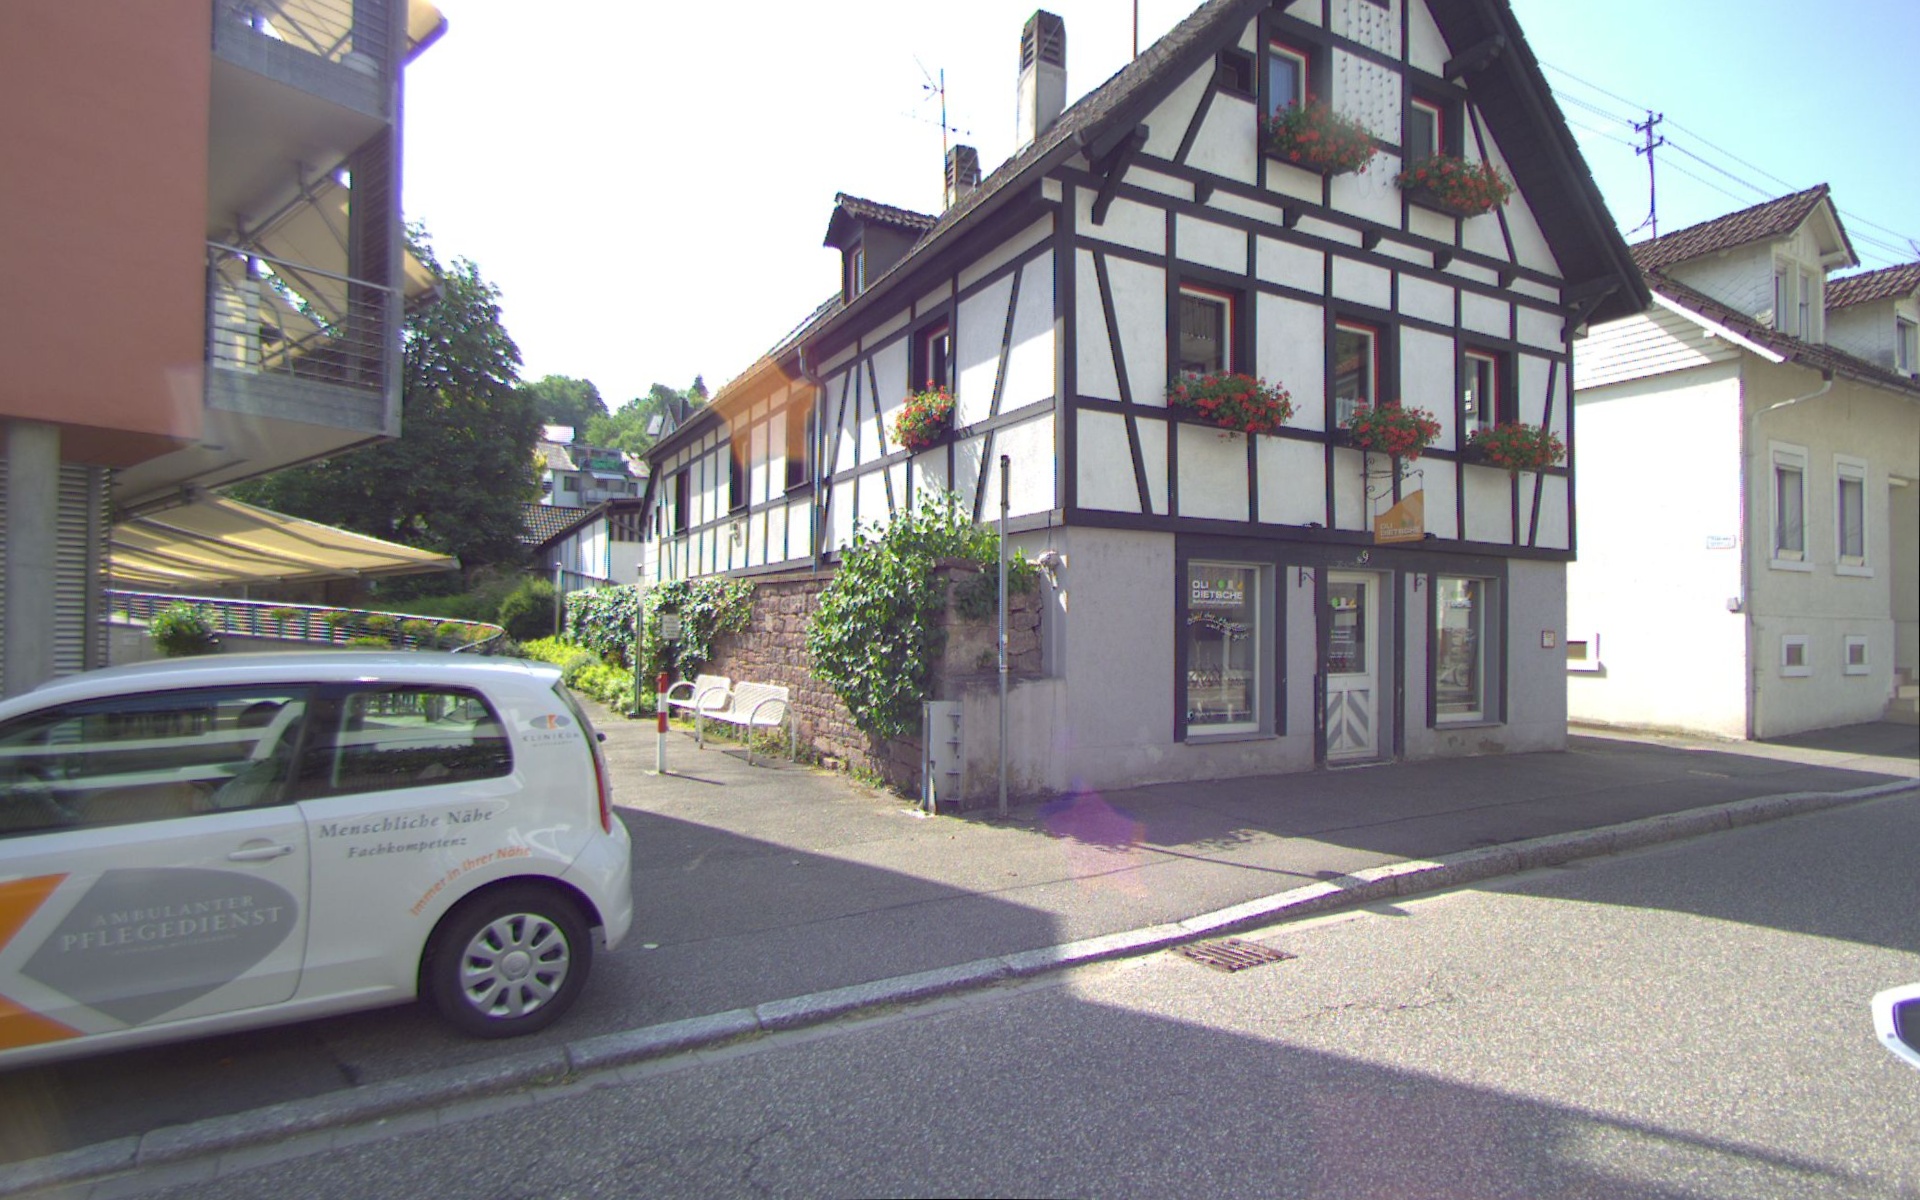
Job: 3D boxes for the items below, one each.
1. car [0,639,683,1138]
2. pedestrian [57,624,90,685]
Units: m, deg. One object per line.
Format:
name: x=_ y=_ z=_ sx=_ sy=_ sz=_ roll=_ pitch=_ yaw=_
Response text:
car: x=-3.076 y=0.938 z=3.995 sx=3.526 sy=1.451 sz=1.658 roll=0 pitch=0 yaw=-30
pedestrian: x=-23.135 y=1.417 z=26.213 sx=0.572 sy=1.567 sz=0.540 roll=-1 pitch=-2 yaw=38
